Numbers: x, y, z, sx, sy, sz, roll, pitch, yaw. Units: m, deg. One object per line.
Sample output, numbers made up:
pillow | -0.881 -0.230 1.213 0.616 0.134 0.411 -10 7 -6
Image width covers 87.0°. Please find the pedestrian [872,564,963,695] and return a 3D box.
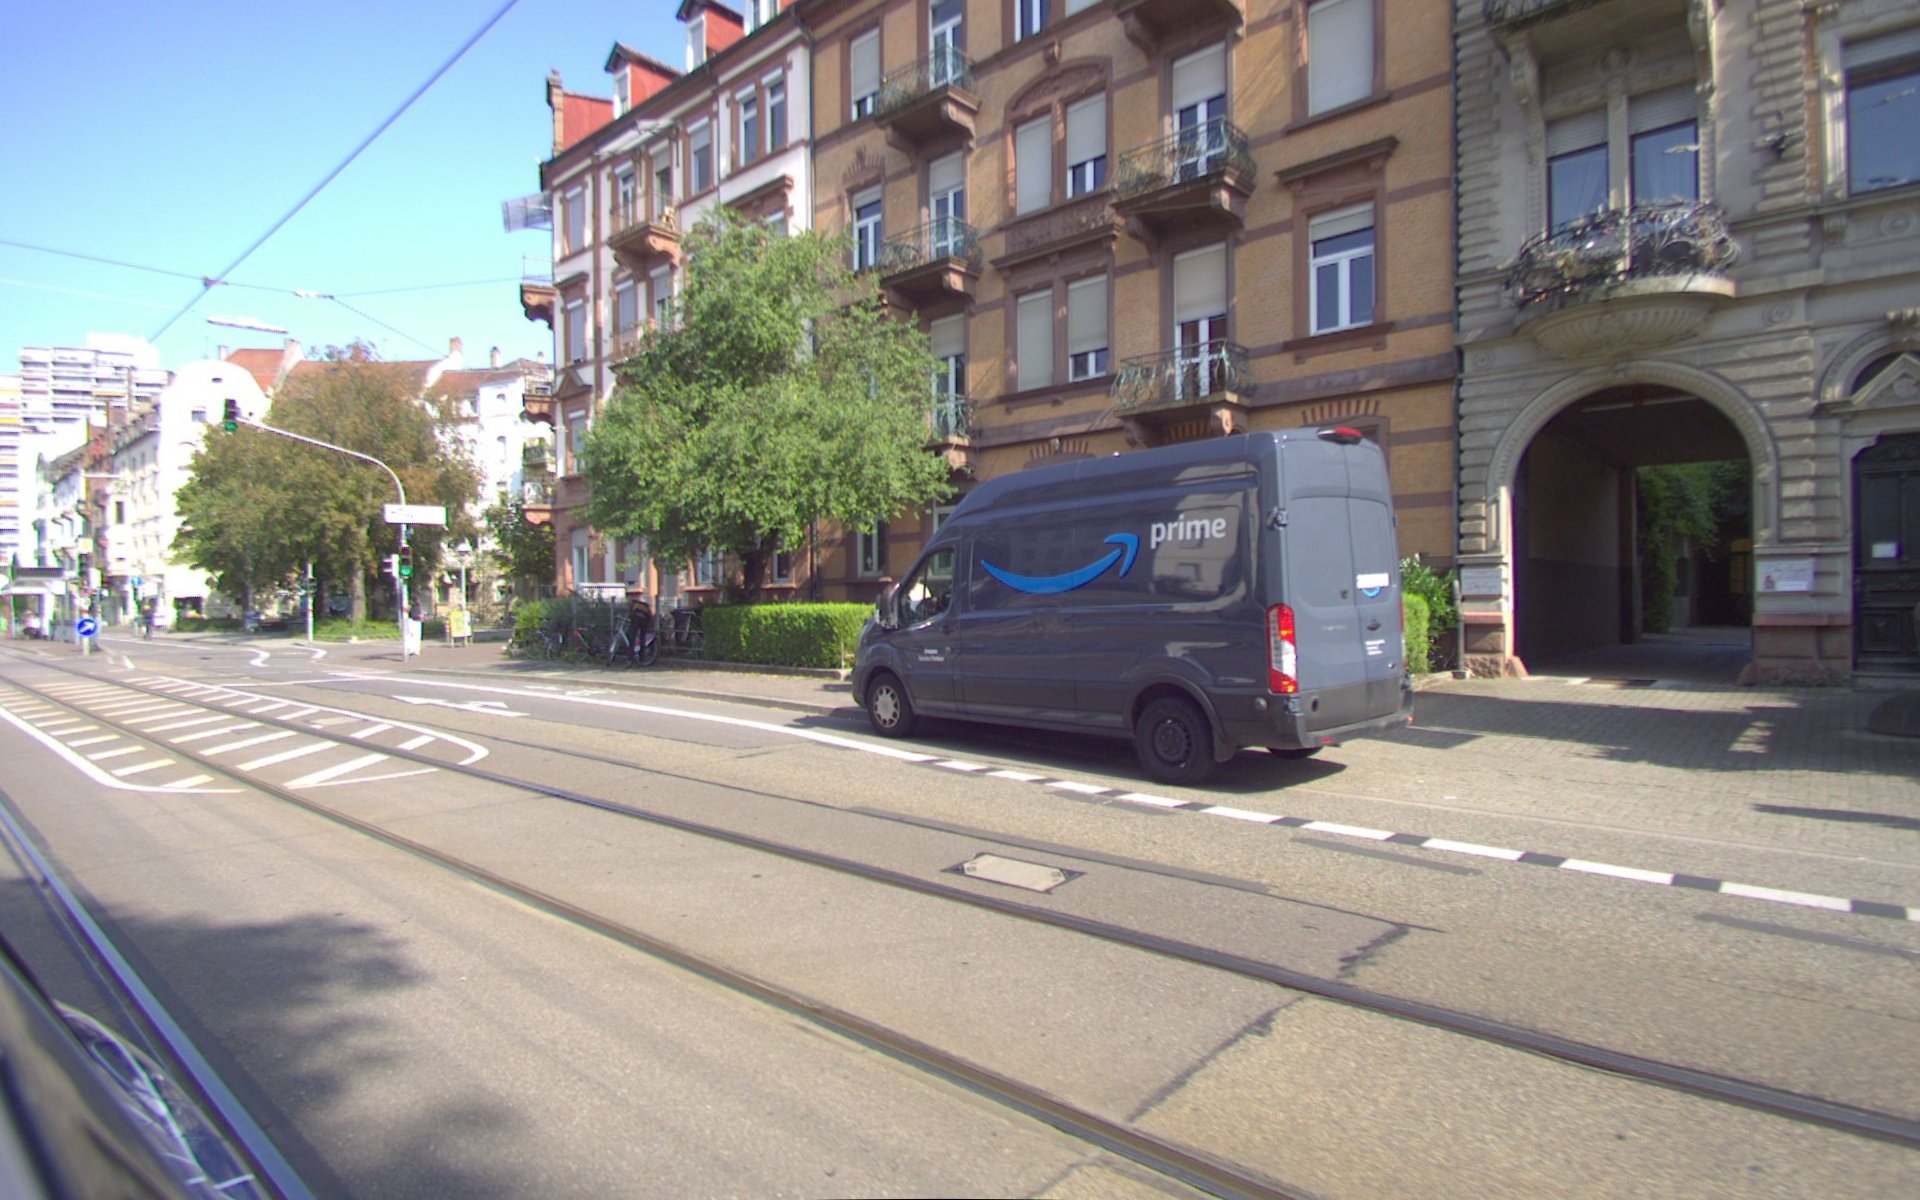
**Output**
pedestrian | -0.621 0.410 14.633 1.092 1.820 0.720 -1 0 41

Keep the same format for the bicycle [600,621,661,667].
bicycle | -7.047 0.928 21.610 0.520 0.934 1.703 -1 0 -45

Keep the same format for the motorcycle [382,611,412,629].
motorcycle | -41.321 1.464 74.248 0.674 1.186 1.867 -1 1 27

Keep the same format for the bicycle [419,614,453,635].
bicycle | -37.712 1.754 72.855 0.859 1.381 2.294 -1 0 13

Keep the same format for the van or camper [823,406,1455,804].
van or camper | 1.212 0.043 9.753 2.025 2.664 6.098 0 0 -41

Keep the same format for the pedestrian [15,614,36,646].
pedestrian | -44.801 1.436 48.523 0.718 1.467 0.669 -1 -1 43

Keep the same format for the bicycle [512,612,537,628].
bicycle | -30.192 1.403 70.159 2.331 1.112 0.648 -1 0 40

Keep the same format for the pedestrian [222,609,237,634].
pedestrian | -55.005 1.590 76.193 0.672 1.882 0.726 -1 -1 38

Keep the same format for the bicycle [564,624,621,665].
bicycle | -8.281 0.986 22.770 0.520 0.866 1.703 -1 0 -45

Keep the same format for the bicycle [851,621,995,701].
bicycle | -0.542 0.806 13.951 2.150 1.014 0.612 -1 0 42

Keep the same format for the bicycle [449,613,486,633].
bicycle | -35.007 1.650 71.920 0.864 1.381 2.280 -1 0 30

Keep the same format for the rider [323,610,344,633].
rider | -42.300 1.431 68.327 0.983 1.523 1.115 -2 1 -44

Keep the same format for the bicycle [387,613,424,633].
bicycle | -40.459 1.689 73.898 0.864 1.381 2.279 -1 0 31

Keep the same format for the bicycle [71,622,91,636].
bicycle | -68.690 2.264 79.080 1.888 1.112 0.540 -1 0 29

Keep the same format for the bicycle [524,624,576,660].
bicycle | -10.159 1.025 25.036 0.520 0.866 1.829 -1 0 -45

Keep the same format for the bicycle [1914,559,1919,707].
bicycle | 9.153 0.354 8.672 0.995 1.466 2.850 -1 1 35

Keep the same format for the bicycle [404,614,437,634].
bicycle | -39.175 1.749 73.518 0.859 1.381 2.294 -1 0 13

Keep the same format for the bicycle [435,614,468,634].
bicycle | -36.436 1.701 72.536 0.859 1.381 2.294 -1 0 13

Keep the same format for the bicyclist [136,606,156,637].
bicyclist | -43.522 1.160 54.104 1.045 1.626 0.665 -1 0 44

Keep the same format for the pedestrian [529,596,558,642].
pedestrian | -14.760 0.661 35.894 0.828 1.583 0.948 -1 0 -15

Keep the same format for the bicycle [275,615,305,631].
bicycle | -49.290 1.653 74.466 0.687 1.087 2.342 -1 1 -1

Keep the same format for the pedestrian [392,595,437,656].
pedestrian | -16.516 0.757 30.629 0.894 1.779 1.186 -1 0 -45

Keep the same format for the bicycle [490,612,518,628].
bicycle | -31.099 1.367 68.975 2.331 1.112 0.764 -1 0 40

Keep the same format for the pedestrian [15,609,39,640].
pedestrian | -44.034 1.158 47.777 0.718 1.467 0.784 -1 -1 43

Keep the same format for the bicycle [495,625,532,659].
bicycle | -12.388 1.156 28.109 0.519 0.866 1.832 -1 0 -10

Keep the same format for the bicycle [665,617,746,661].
bicycle | -5.488 0.825 21.858 0.528 0.866 1.679 -2 0 42

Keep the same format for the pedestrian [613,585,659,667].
pedestrian | -6.756 0.534 21.119 0.631 1.691 0.632 -1 -1 30

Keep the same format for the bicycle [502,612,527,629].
bicycle | -30.631 1.422 69.567 2.331 1.112 0.648 -1 0 40

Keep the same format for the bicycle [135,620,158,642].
bicycle | -43.543 1.650 54.153 2.070 1.112 0.676 -1 0 44
